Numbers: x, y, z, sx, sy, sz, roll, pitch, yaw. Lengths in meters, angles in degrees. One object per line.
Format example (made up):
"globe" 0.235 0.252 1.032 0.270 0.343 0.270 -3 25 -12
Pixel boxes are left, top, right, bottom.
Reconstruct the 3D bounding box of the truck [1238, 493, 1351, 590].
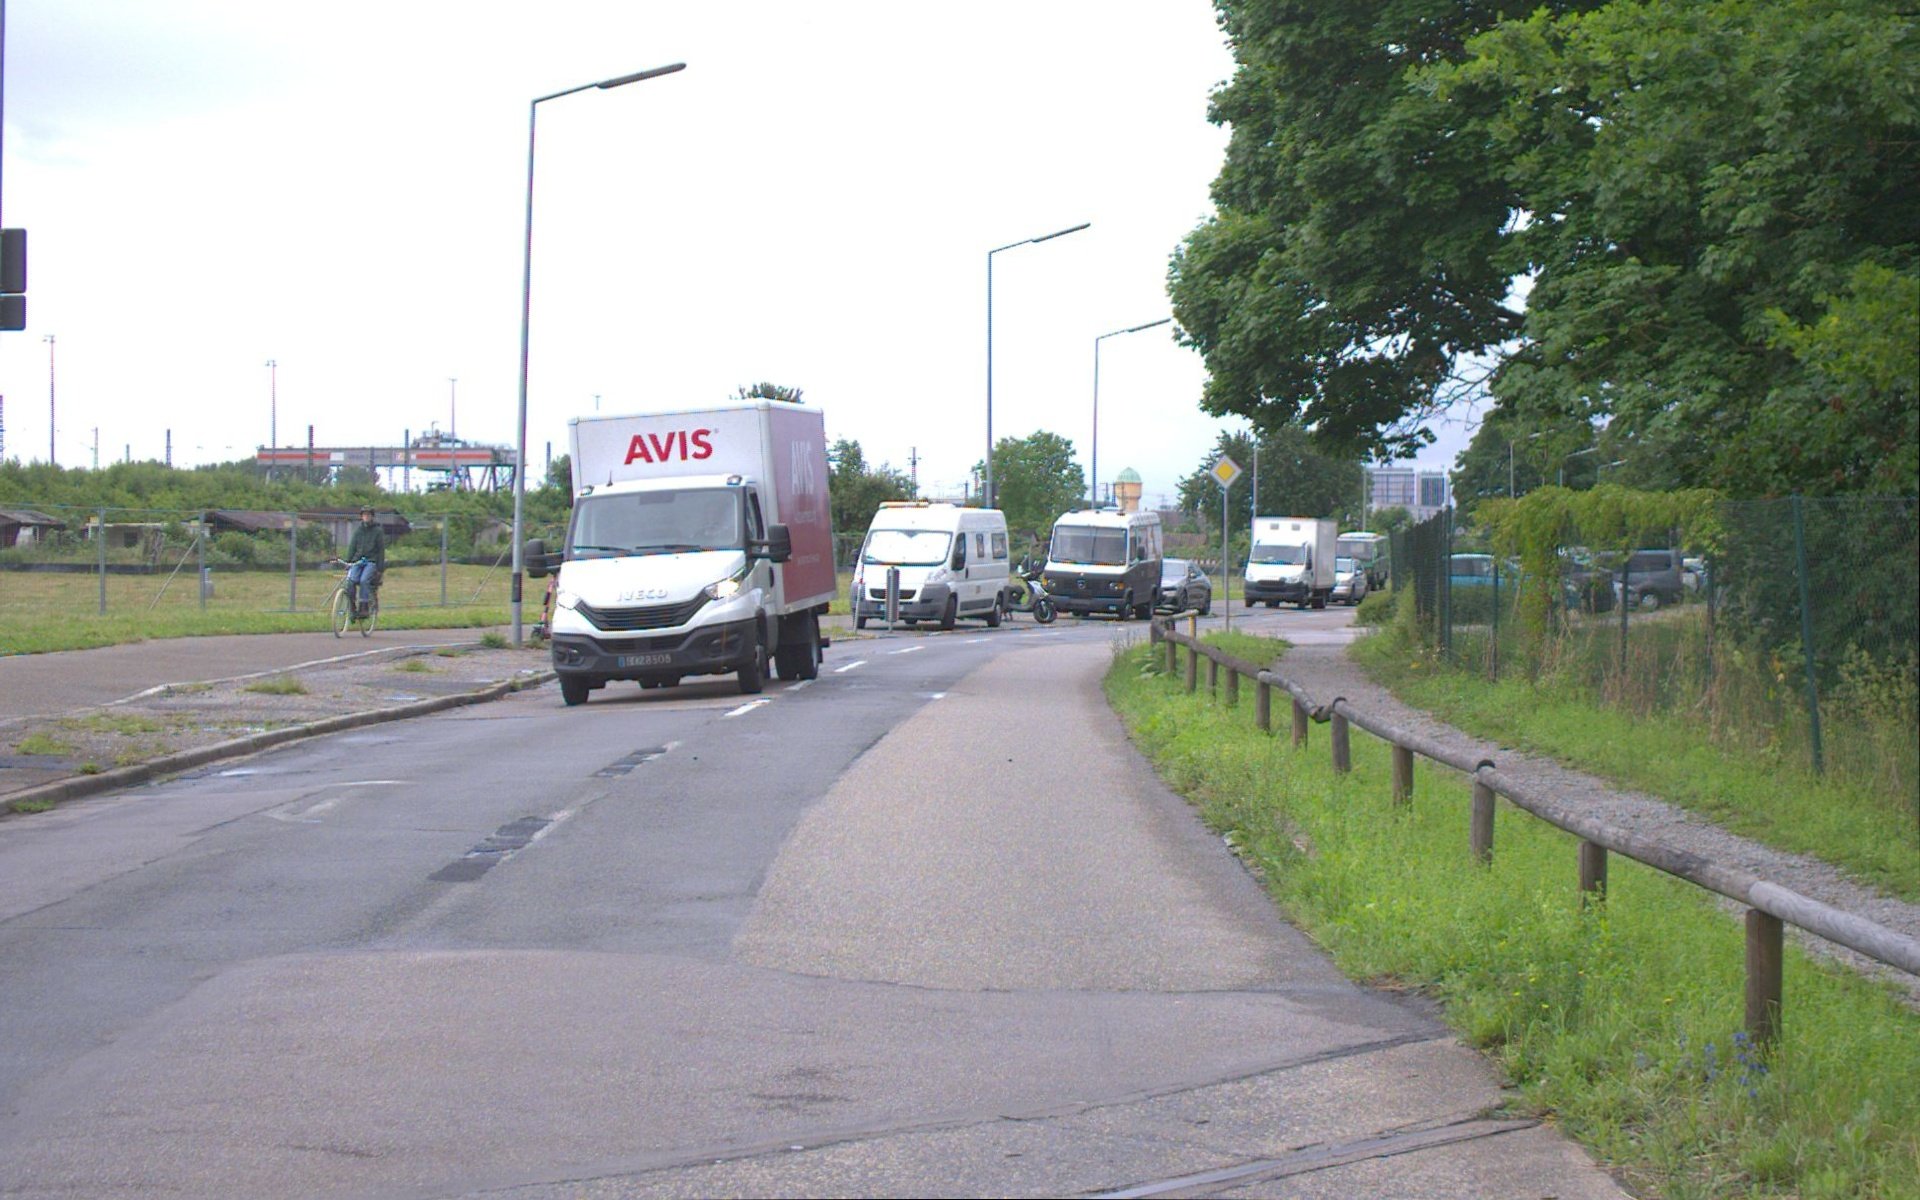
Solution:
"truck" 11.046 -1.977 112.888 2.463 3.049 8.157 0 2 14

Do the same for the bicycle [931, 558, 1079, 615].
"bicycle" 1.034 -0.319 77.971 3.122 1.195 1.364 1 2 15

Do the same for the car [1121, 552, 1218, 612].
"car" 5.706 -0.501 93.188 1.781 1.499 3.997 0 2 16

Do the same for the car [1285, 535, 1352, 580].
"car" 12.687 -1.525 121.505 1.756 1.520 3.998 0 2 15

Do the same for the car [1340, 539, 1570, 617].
"car" 10.991 -0.508 76.300 4.864 1.610 1.841 1 2 15

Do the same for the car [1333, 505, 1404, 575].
"car" 15.432 -2.297 129.748 2.006 2.565 4.783 0 2 15

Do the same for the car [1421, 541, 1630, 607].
"car" 13.738 -0.641 83.488 4.864 1.495 1.841 1 2 15

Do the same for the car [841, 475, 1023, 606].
"car" -0.491 -1.256 70.108 2.290 2.546 6.407 0 2 13

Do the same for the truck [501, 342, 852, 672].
"truck" -2.829 -0.990 36.541 2.341 3.051 7.496 -2 1 5

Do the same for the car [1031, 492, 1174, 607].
"car" 3.636 -1.322 86.229 2.302 2.725 6.088 1 2 15

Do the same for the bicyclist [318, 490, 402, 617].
"bicyclist" -8.745 -0.688 50.148 0.827 1.815 1.330 1 2 8

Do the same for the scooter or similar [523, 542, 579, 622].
"scooter or similar" -6.312 -0.286 53.165 0.608 1.178 1.702 2 1 1

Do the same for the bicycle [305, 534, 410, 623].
"bicycle" -8.757 -0.329 50.077 0.819 1.200 2.556 1 2 7
